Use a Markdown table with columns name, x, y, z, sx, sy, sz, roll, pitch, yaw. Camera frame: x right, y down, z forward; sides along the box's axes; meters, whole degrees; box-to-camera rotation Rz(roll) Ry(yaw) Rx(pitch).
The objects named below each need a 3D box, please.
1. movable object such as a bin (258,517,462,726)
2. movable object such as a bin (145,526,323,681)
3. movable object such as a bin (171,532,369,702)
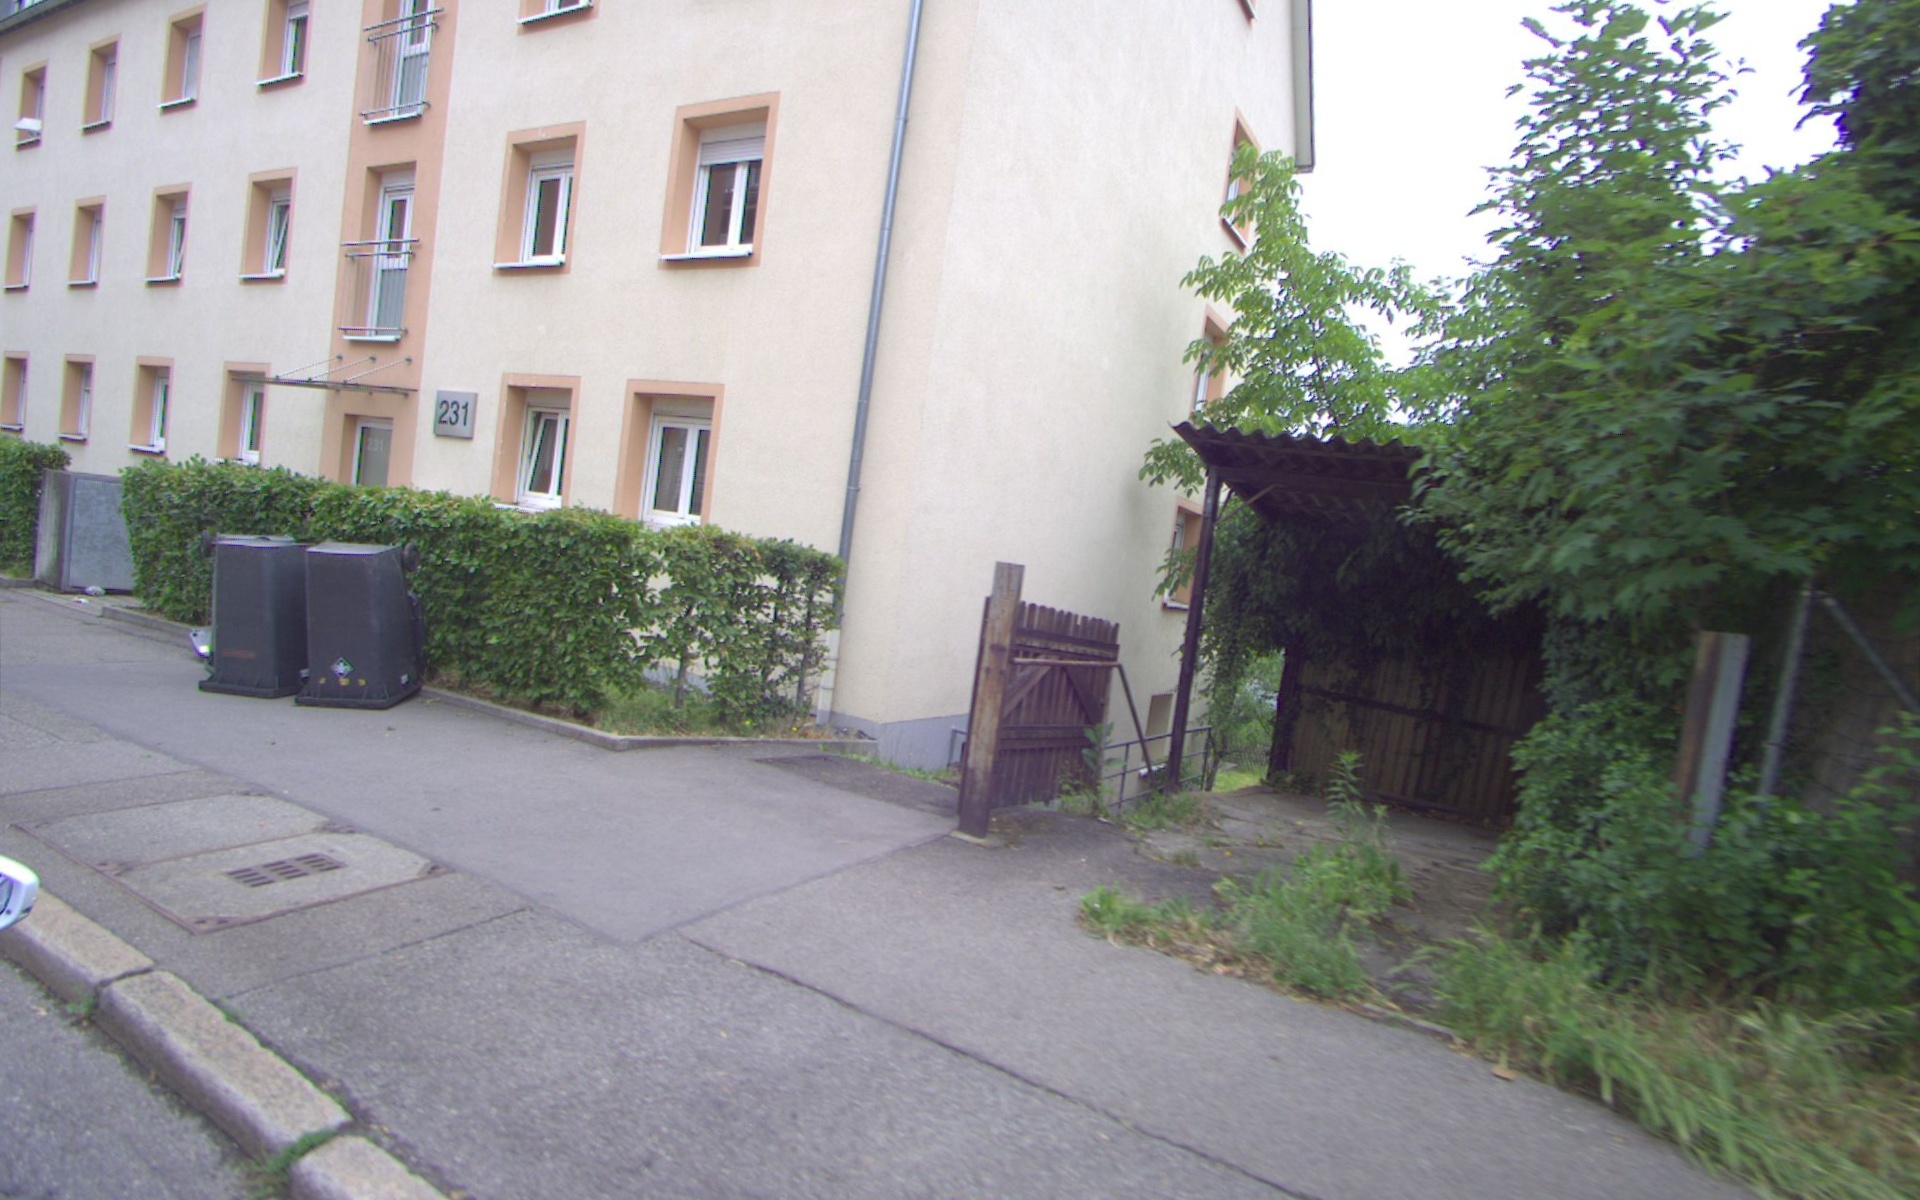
| name | x | y | z | sx | sy | sz | roll | pitch | yaw |
| --- | --- | --- | --- | --- | --- | --- | --- | --- | --- |
| movable object such as a bin | -3.951 | 0.133 | 6.652 | 0.775 | 1.234 | 0.793 | 7 | 2 | 27 |
| movable object such as a bin | -5.354 | 0.028 | 7.433 | 0.776 | 1.025 | 0.792 | 7 | 2 | 33 |
| movable object such as a bin | -4.720 | 0.112 | 6.903 | 0.775 | 1.025 | 0.793 | 7 | 2 | 27 |
